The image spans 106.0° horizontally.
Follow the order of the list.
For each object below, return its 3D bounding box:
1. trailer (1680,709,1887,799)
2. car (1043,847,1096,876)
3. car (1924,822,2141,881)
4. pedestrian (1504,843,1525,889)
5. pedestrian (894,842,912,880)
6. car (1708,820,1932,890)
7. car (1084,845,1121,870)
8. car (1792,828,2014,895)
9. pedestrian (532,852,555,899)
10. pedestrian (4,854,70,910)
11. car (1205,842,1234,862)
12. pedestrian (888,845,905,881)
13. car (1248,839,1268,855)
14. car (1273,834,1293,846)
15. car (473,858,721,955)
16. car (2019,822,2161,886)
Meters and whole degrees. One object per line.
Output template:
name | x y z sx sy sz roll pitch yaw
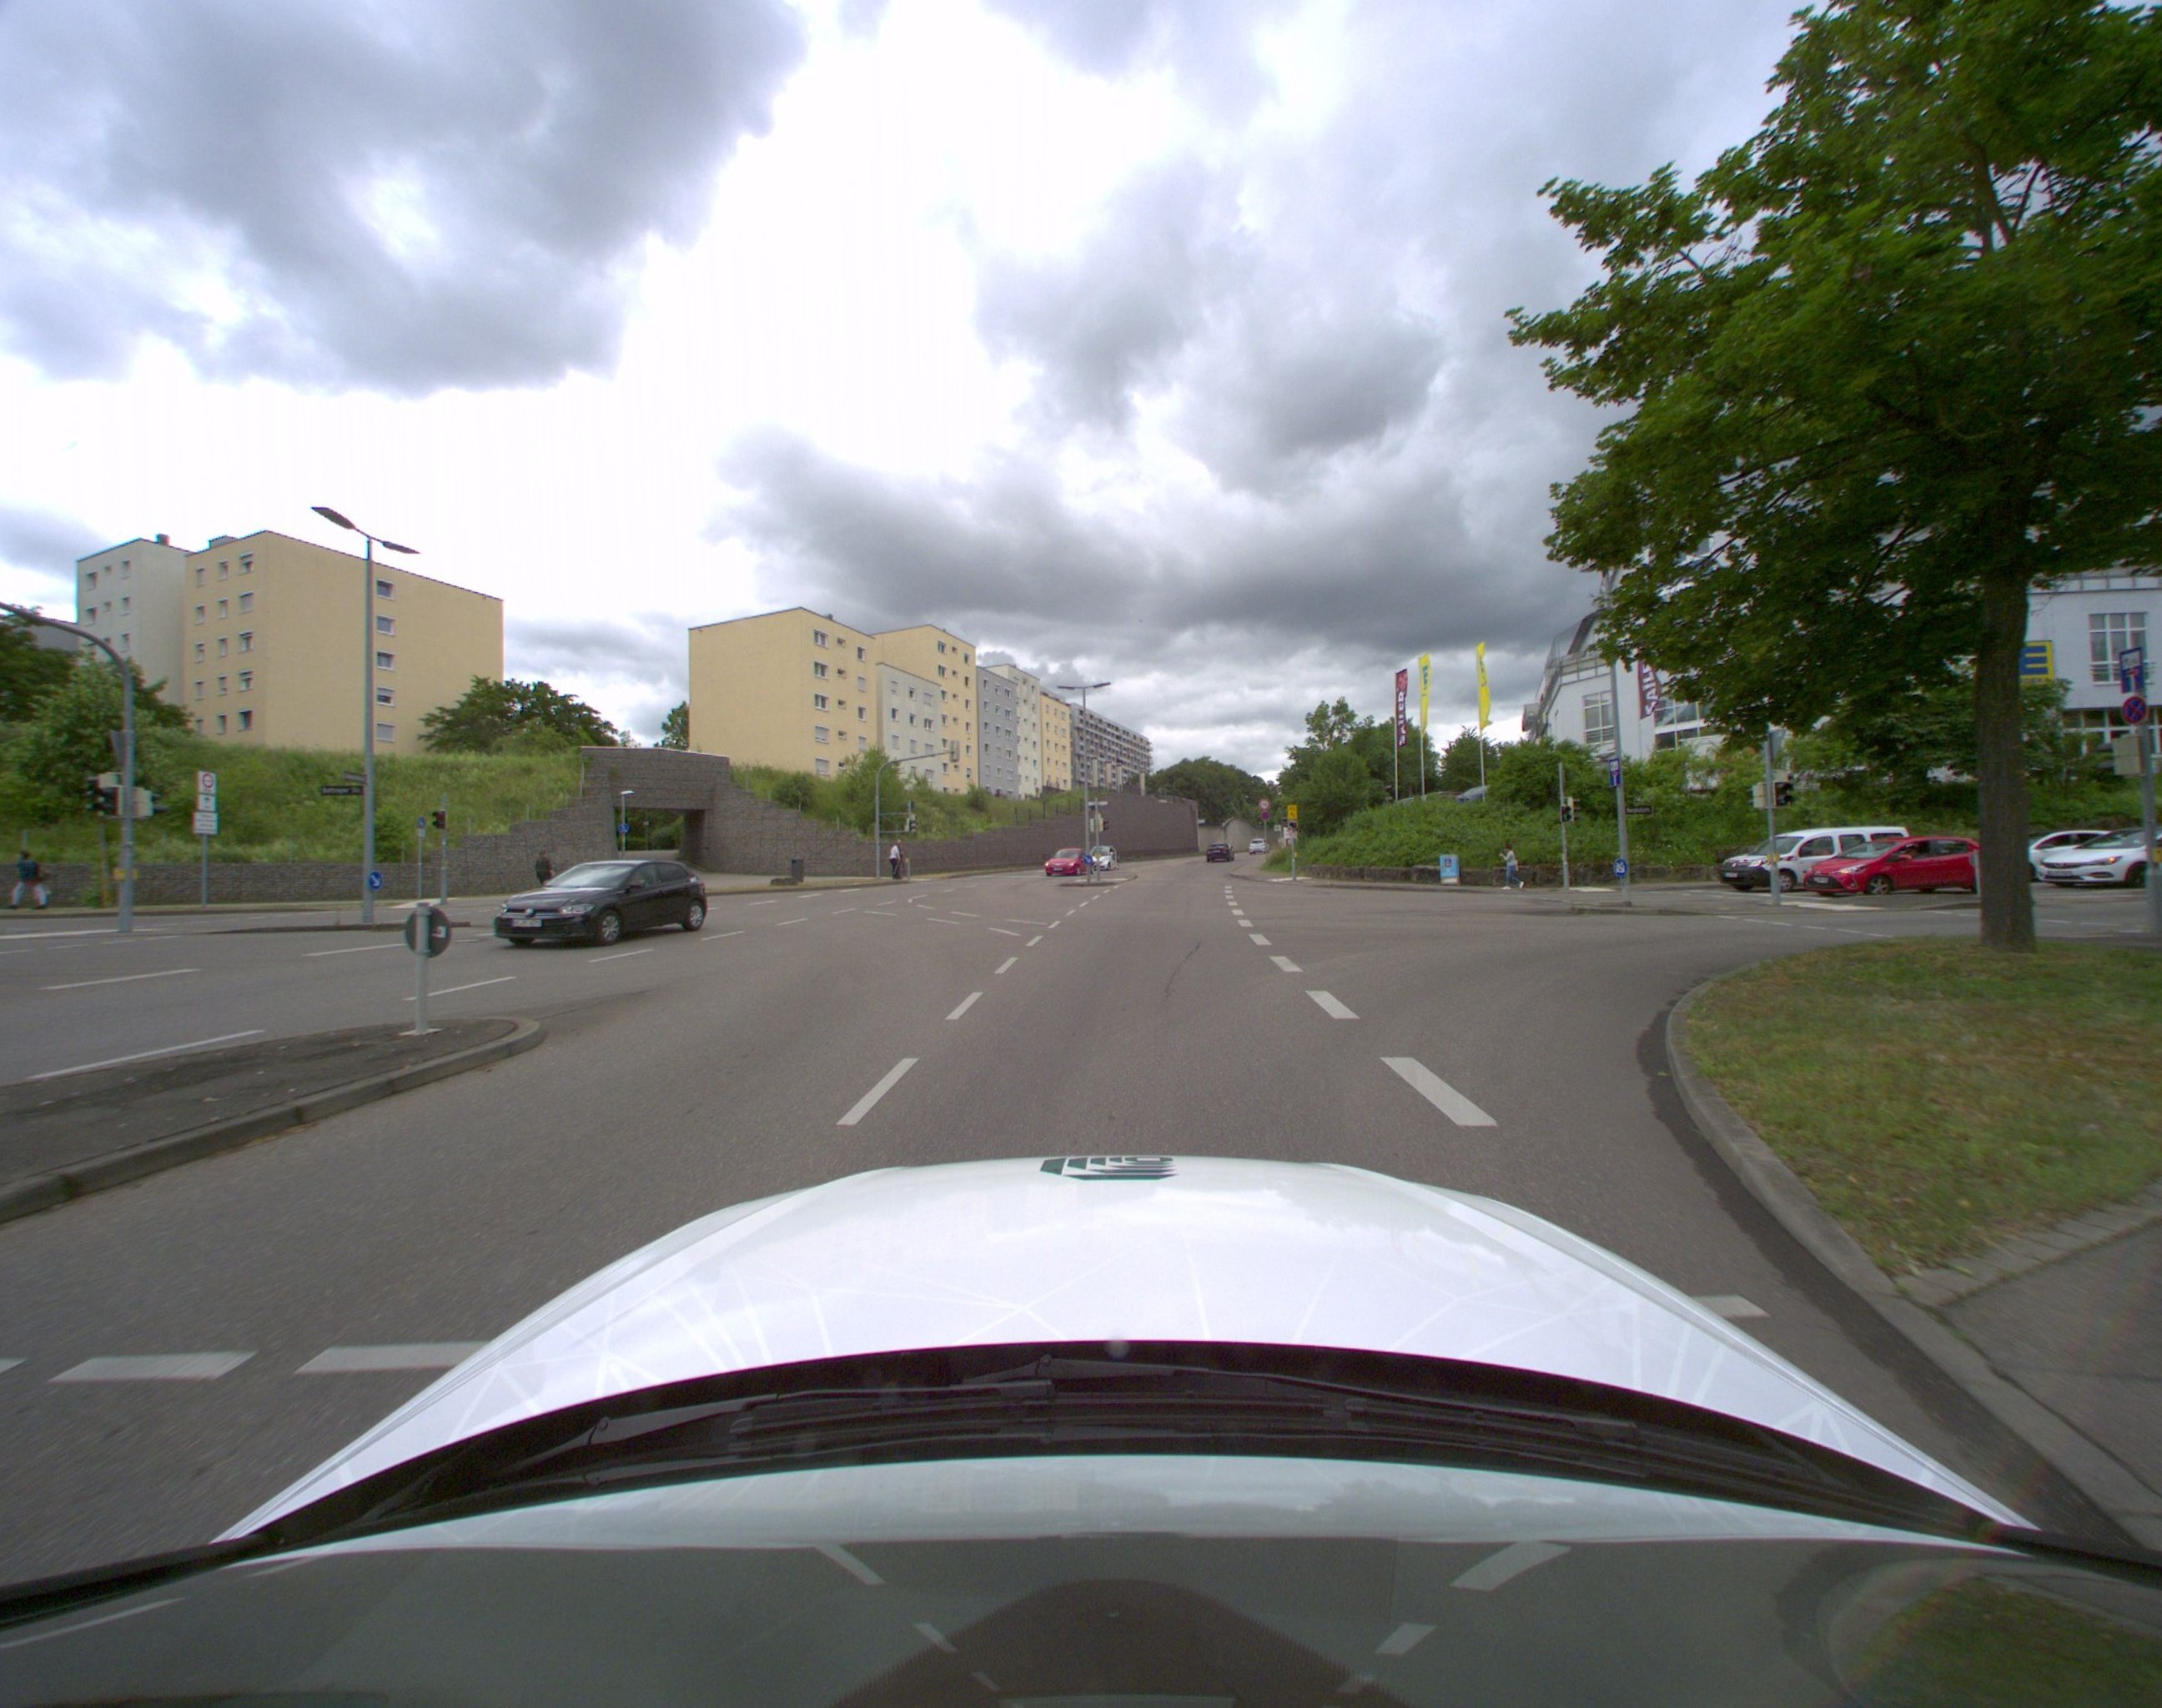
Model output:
trailer | 30.556 -4.192 35.751 2.475 3.055 6.438 0 0 -26
car | -0.579 0.388 44.649 1.741 1.523 4.110 0 0 16
car | 27.478 -0.055 23.647 3.802 1.455 1.969 -3 -1 5
pedestrian | 15.356 0.423 28.851 0.616 1.608 0.583 0 -1 24
pedestrian | -8.544 0.335 39.045 0.617 1.827 0.668 0 -1 16
car | 21.796 0.040 24.192 4.686 1.800 1.955 -2 -1 4
car | 1.379 0.226 50.949 1.531 1.523 2.928 0 0 18
car | 21.227 0.193 21.162 3.802 1.496 1.762 -2 -1 5
pedestrian | -17.885 0.708 27.112 0.627 1.558 0.574 0 -1 -35
pedestrian | -29.744 0.786 23.222 0.903 1.558 0.794 0 -1 -30
car | 10.665 -0.151 62.637 1.741 1.523 4.053 0 0 16
pedestrian | -8.688 0.408 38.313 0.619 1.679 0.666 0 -1 5
car | 17.565 -0.712 80.694 1.742 1.523 4.052 0 0 14
car | 27.157 -1.888 109.250 1.850 1.490 4.281 -1 1 24
car | -8.621 0.839 14.995 1.744 1.455 4.077 0 1 8
car | 26.912 -0.049 20.511 4.279 1.455 1.762 -3 -1 4
